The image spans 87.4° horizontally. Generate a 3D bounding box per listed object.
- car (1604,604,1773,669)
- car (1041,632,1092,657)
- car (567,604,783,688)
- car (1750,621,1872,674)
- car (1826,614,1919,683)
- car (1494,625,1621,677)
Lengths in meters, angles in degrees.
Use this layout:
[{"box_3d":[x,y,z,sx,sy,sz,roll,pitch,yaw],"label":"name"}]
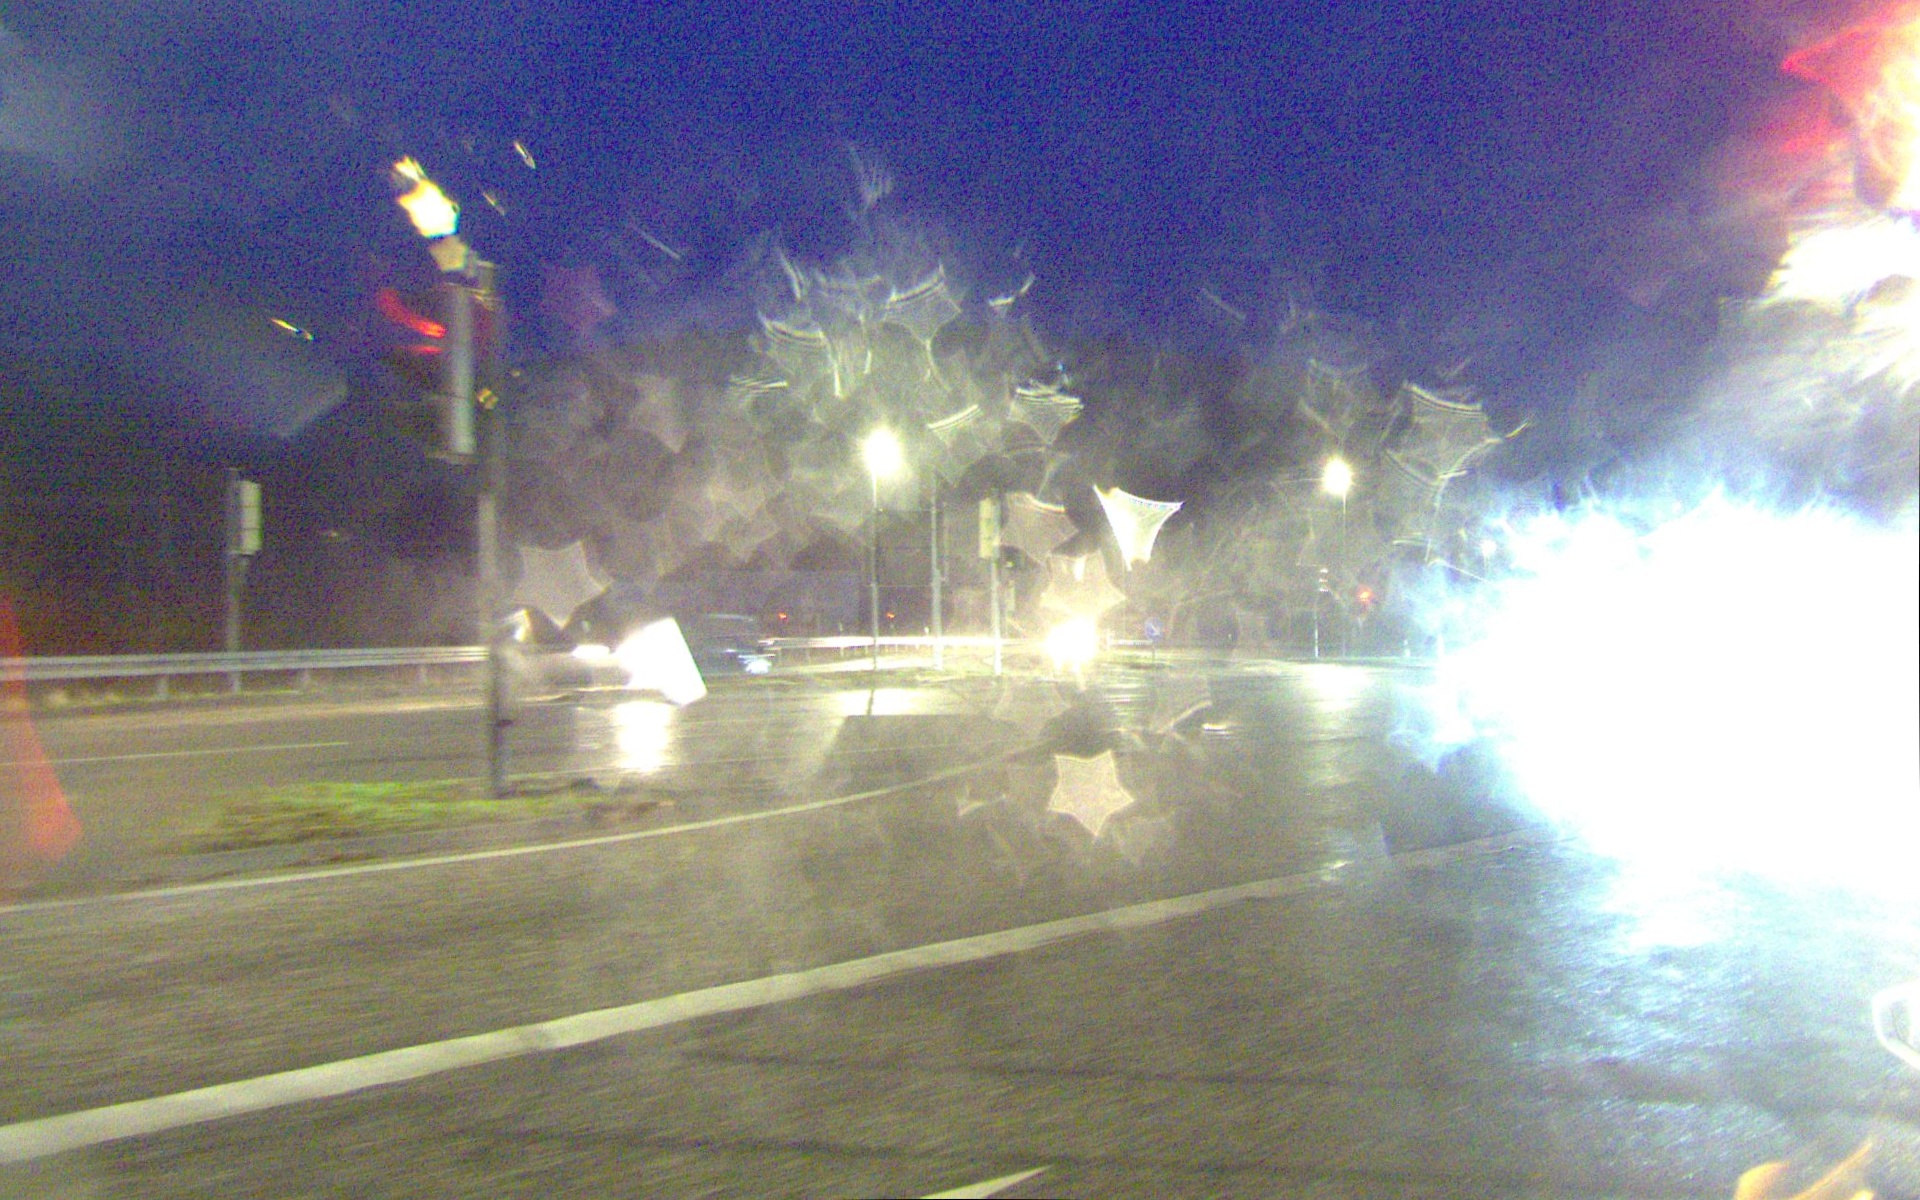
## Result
[{"box_3d":[19.211,0.939,26.442,4.855,1.592,1.784,1,-1,-30],"label":"car"},{"box_3d":[6.790,2.847,63.866,1.629,1.518,4.368,-2,-4,29],"label":"car"},{"box_3d":[-5.813,0.924,21.231,1.718,1.523,4.892,1,-1,22],"label":"car"},{"box_3d":[25.813,1.439,30.460,3.683,1.473,1.660,2,-1,-29],"label":"car"},{"box_3d":[23.625,1.165,24.961,4.654,1.592,1.692,1,-1,-29],"label":"car"},{"box_3d":[22.321,1.860,37.698,3.924,1.856,1.720,0,-1,24],"label":"car"}]
